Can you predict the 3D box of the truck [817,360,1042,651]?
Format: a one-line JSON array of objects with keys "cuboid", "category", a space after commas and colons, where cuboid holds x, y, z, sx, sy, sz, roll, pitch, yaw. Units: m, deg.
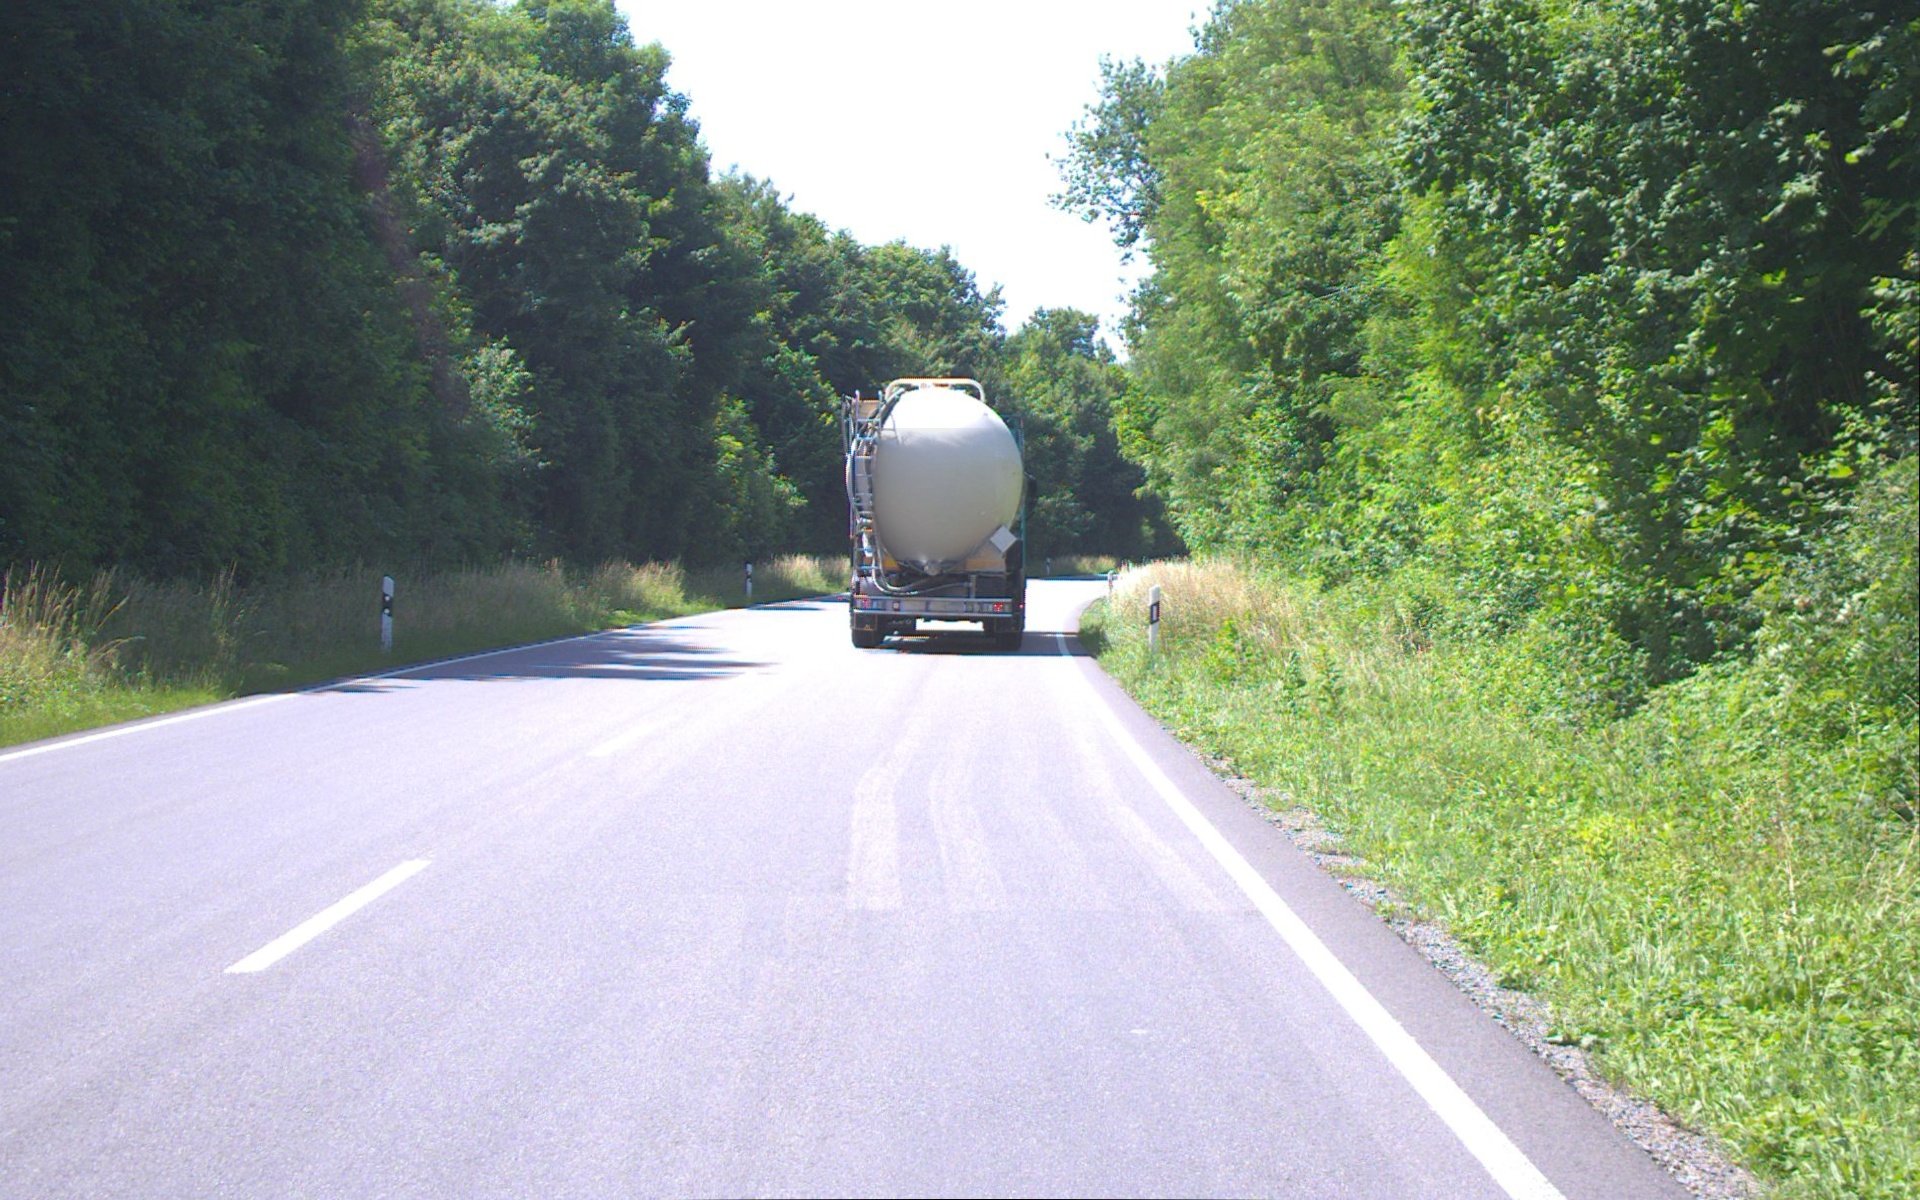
[{"cuboid": [-0.568, -1.453, 55.771, 3.049, 3.984, 15.638, 1, 1, -1], "category": "truck"}]
